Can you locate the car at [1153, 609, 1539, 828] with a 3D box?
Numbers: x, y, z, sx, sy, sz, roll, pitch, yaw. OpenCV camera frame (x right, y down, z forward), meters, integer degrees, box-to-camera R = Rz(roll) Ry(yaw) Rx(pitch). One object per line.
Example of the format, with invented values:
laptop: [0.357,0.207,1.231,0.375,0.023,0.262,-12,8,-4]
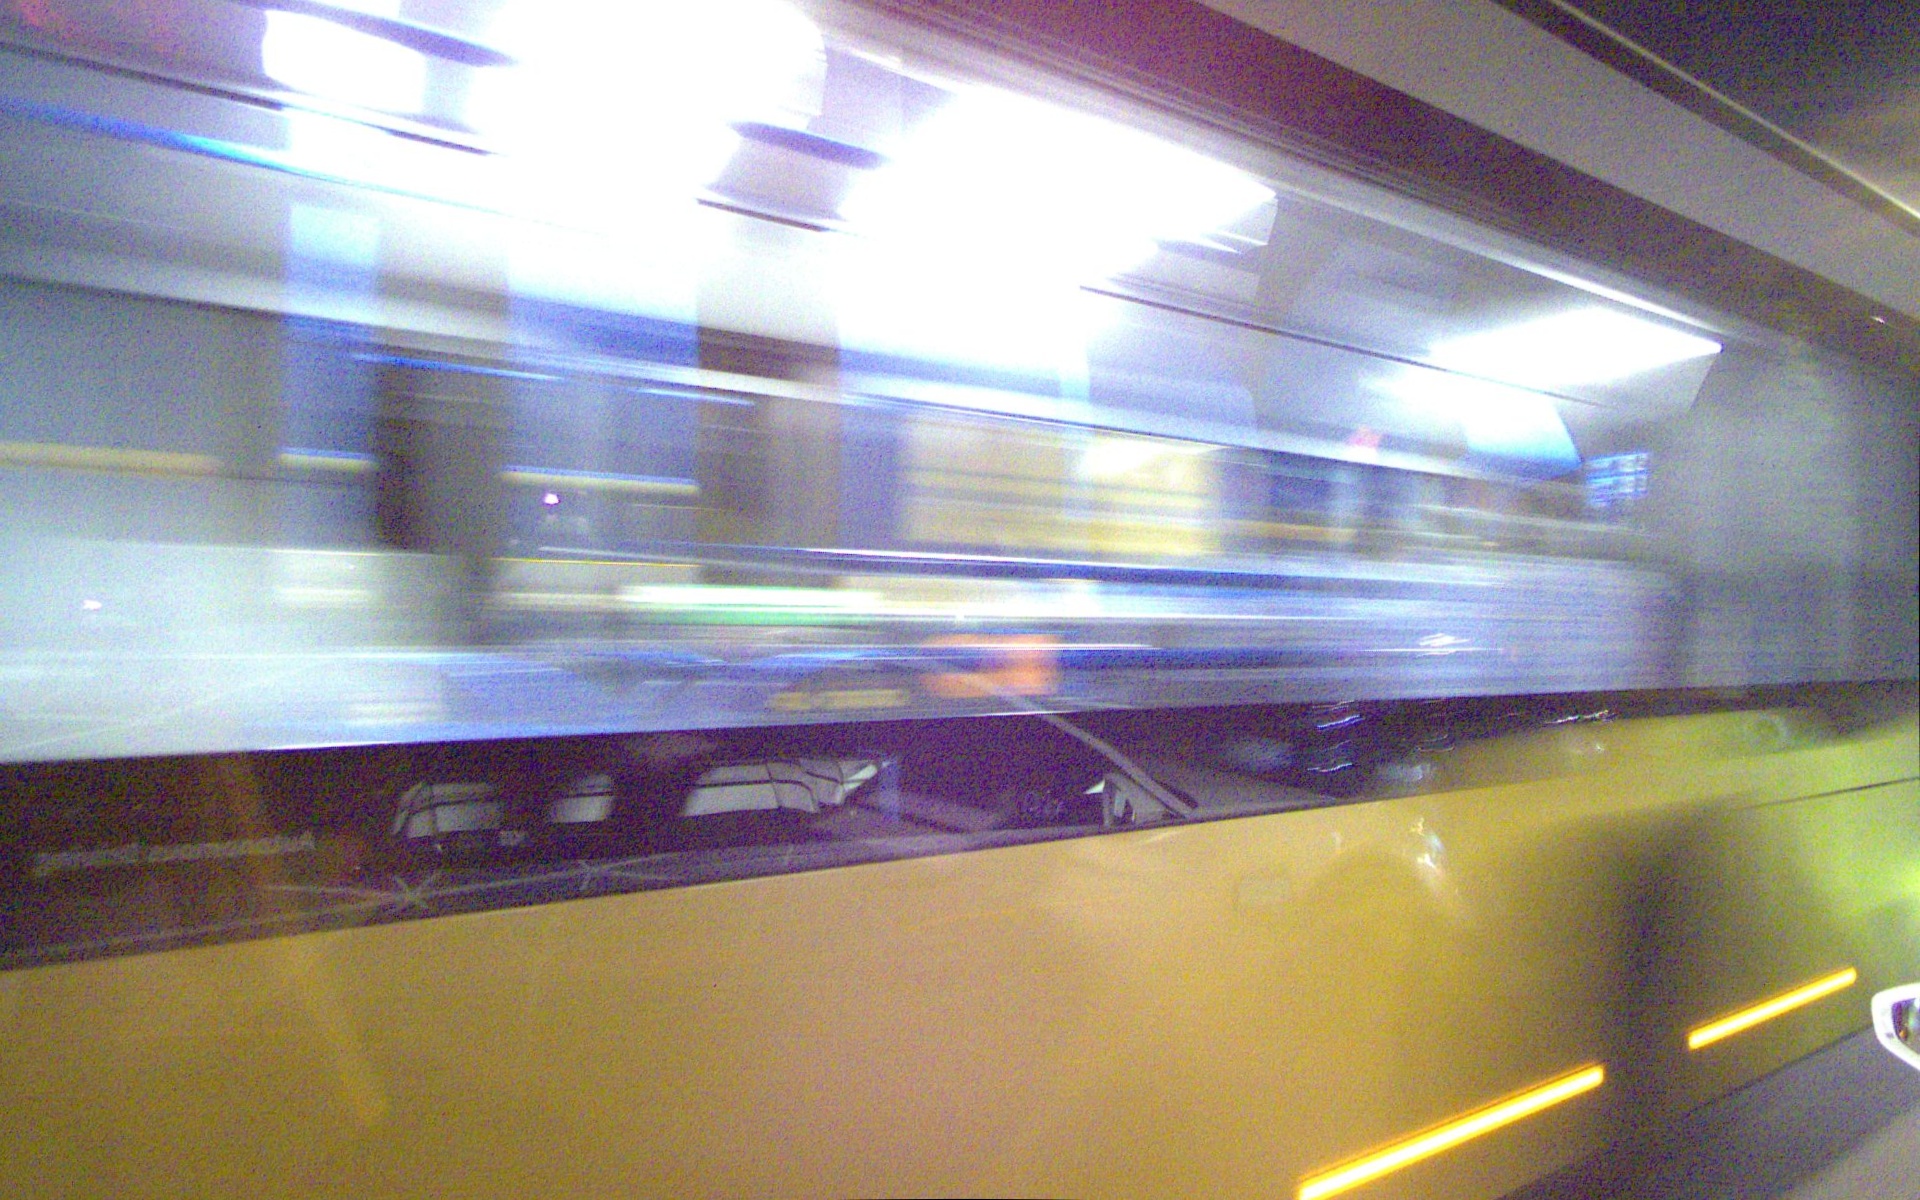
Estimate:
car: [3.205,0.878,8.358,2.731,1.517,1.632,2,-2,-29]

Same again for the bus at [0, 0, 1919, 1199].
bus: [0.848,0.003,3.286,7.570,3.220,2.824,1,0,-30]
